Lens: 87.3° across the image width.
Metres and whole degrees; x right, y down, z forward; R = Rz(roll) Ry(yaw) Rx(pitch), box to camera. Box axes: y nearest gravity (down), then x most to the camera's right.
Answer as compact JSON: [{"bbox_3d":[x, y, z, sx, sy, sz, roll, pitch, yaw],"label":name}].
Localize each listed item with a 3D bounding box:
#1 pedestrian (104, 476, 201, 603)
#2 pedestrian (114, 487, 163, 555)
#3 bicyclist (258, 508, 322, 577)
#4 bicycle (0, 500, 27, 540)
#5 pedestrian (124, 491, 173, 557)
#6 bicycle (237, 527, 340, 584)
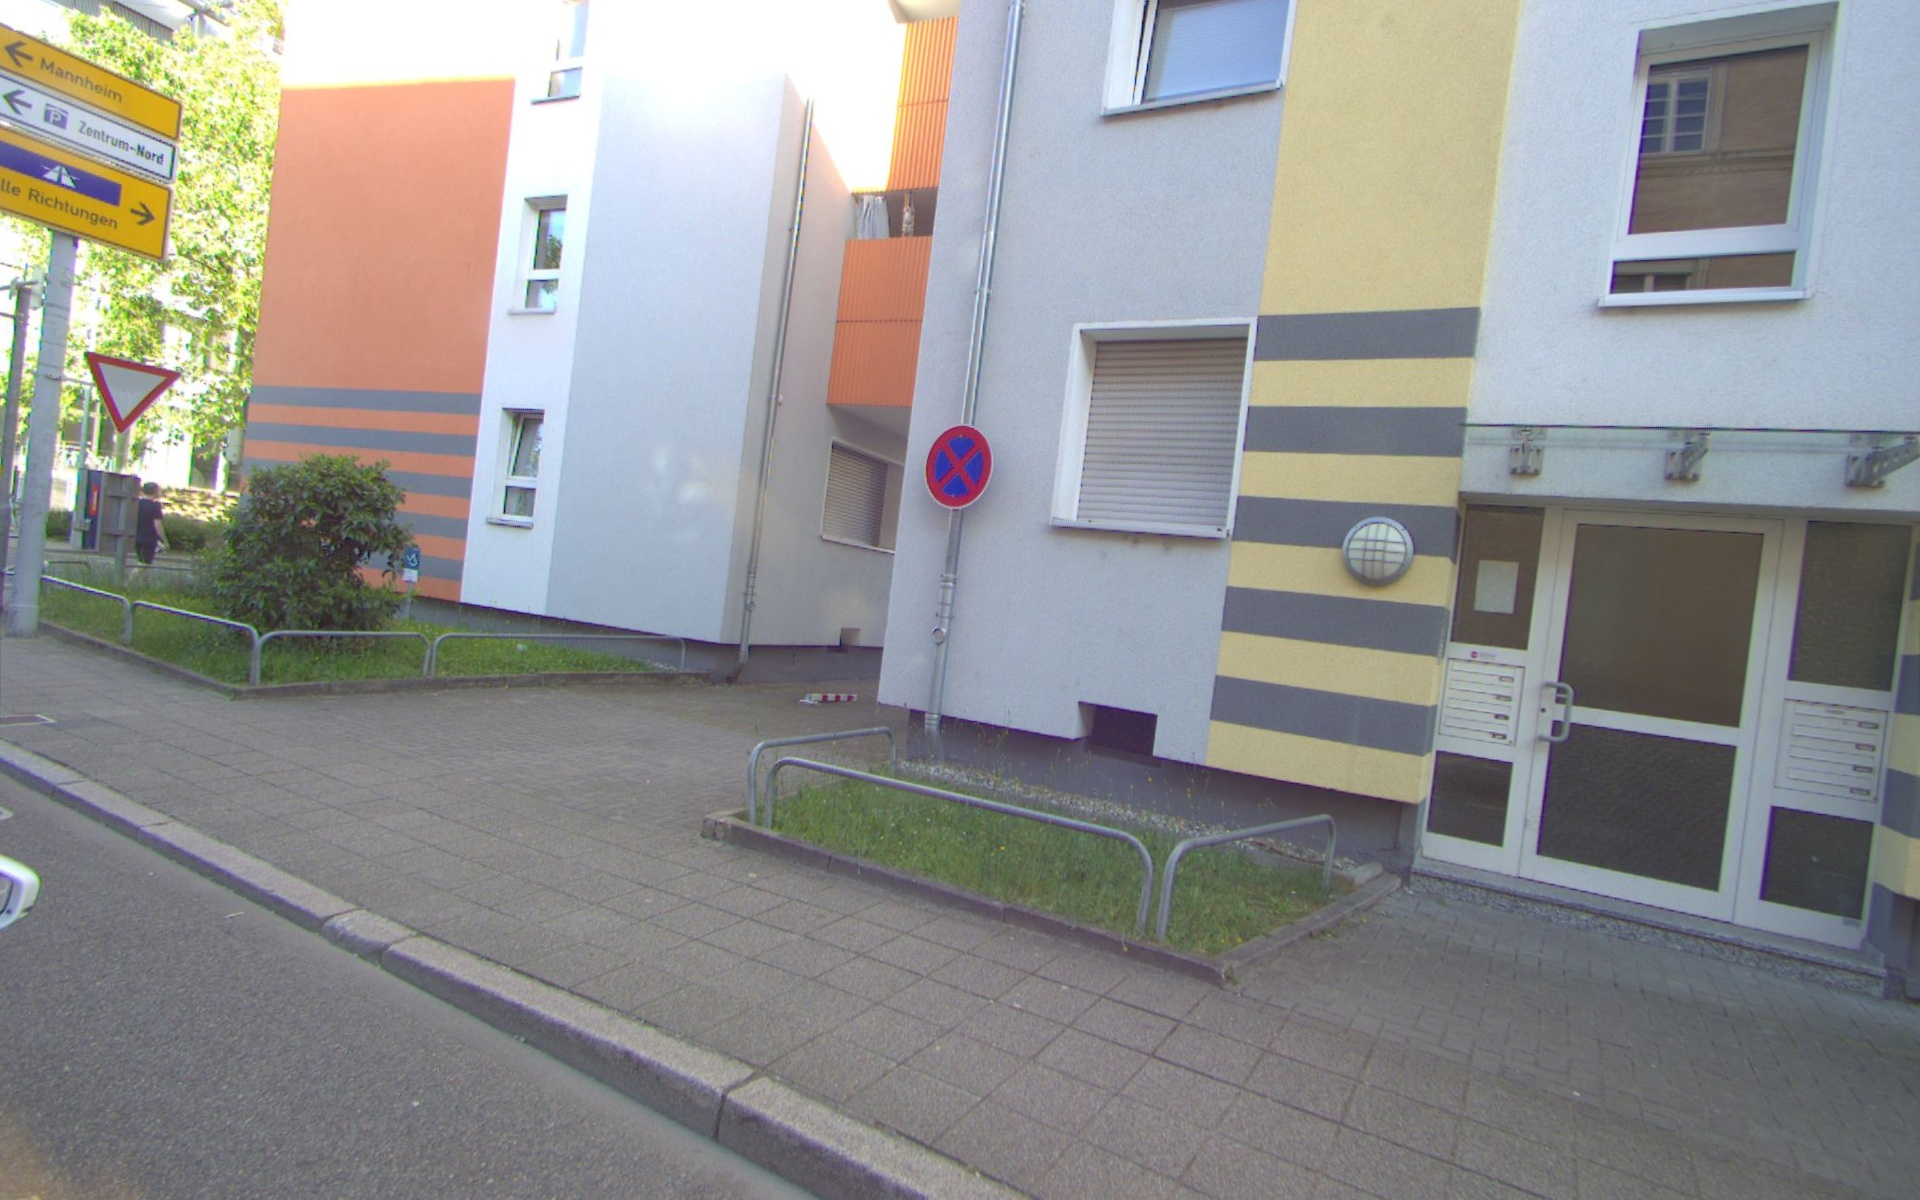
[{"bbox_3d":[-12.573,-0.928,15.684,0.689,1.831,0.720,7,-1,0],"label":"pedestrian"},{"bbox_3d":[-23.686,-2.286,29.007,0.637,1.816,0.766,6,-1,34],"label":"pedestrian"},{"bbox_3d":[-16.604,-1.410,24.950,0.583,1.546,1.075,7,1,37],"label":"bicyclist"},{"bbox_3d":[-26.392,-2.237,27.386,1.409,1.021,0.379,7,1,-11],"label":"bicycle"},{"bbox_3d":[-23.113,-2.162,28.650,0.637,1.739,0.766,6,-1,34],"label":"pedestrian"},{"bbox_3d":[-16.631,-1.091,24.958,0.583,1.166,1.963,7,0,37],"label":"bicycle"}]
